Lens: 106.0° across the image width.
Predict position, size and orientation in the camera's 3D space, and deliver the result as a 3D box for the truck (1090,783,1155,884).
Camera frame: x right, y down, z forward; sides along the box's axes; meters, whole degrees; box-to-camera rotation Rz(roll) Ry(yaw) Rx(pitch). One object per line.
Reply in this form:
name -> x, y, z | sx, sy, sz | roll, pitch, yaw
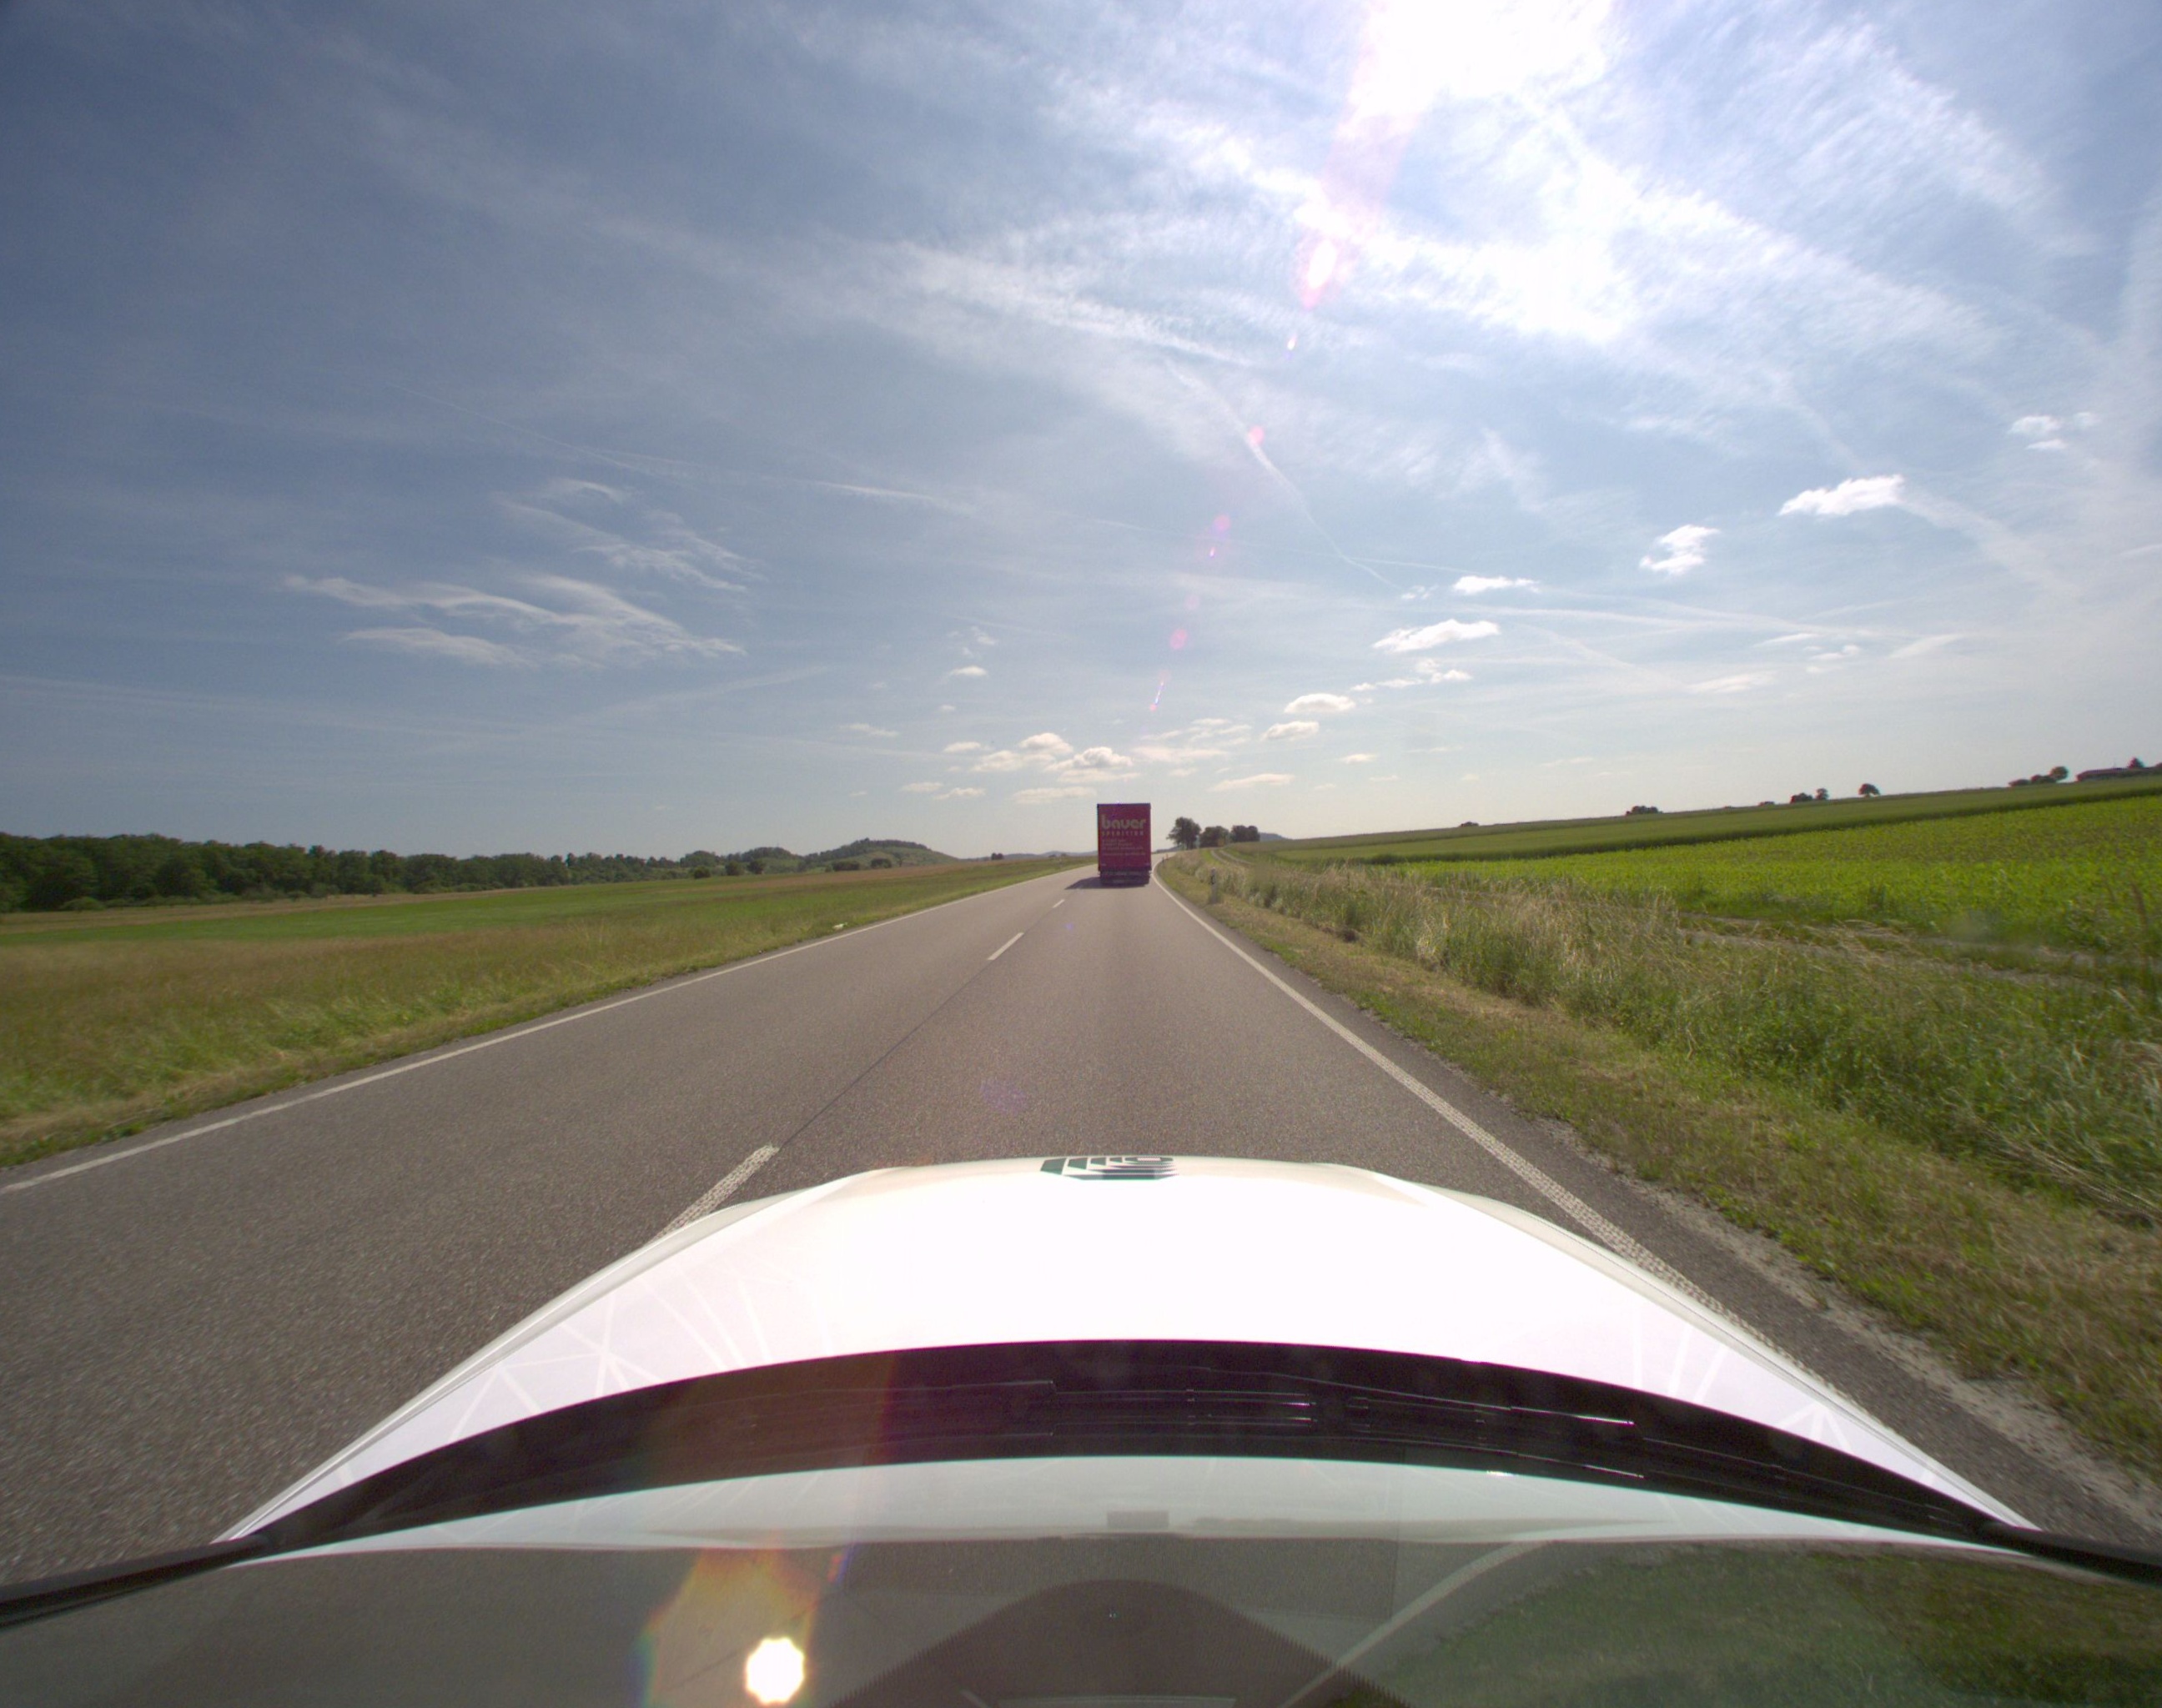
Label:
truck -> 2.199, -0.952, 42.823 | 2.963, 4.713, 9.373 | 0, 0, 3
